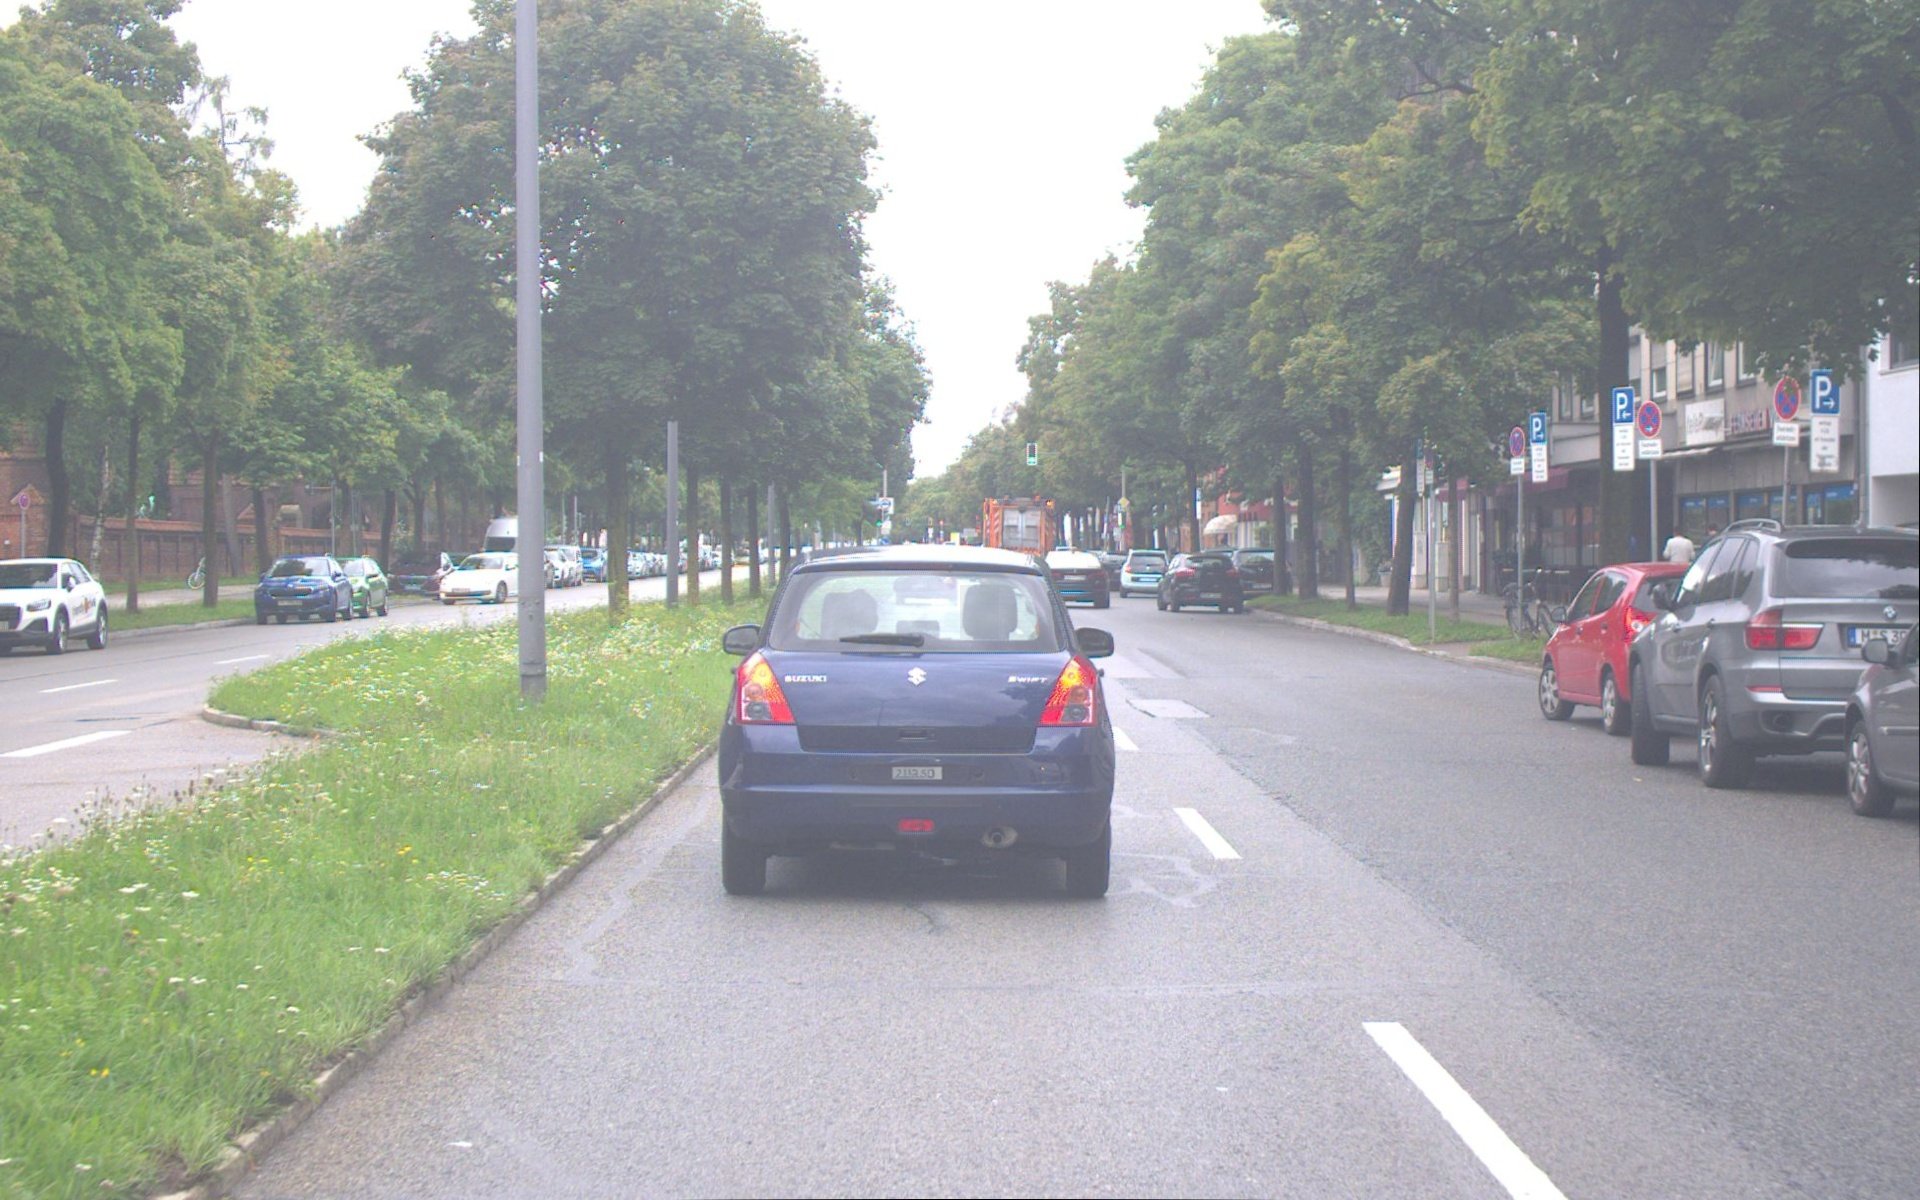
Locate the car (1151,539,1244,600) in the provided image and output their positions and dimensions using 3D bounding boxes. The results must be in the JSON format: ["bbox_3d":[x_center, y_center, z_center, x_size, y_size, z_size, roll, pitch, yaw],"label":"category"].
[{"bbox_3d":[5.761,-0.753,83.761,1.993,1.447,4.000,0,1,0],"label":"car"}]

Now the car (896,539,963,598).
[{"bbox_3d":[-0.800,-0.836,90.216,1.718,1.495,4.301,1,1,-1],"label":"car"}]

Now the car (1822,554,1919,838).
[{"bbox_3d":[6.078,0.520,18.745,1.829,1.517,3.771,0,1,1],"label":"car"}]

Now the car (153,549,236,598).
[{"bbox_3d":[-24.783,-0.872,111.458,1.813,1.531,4.299,1,1,-1],"label":"car"}]

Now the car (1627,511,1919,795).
[{"bbox_3d":[5.810,0.293,23.397,1.829,1.740,4.508,0,1,2],"label":"car"}]

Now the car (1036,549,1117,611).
[{"bbox_3d":[2.960,-0.531,88.317,1.821,1.472,4.691,2,1,-1],"label":"car"}]

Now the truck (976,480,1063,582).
[{"bbox_3d":[2.152,-2.553,127.775,3.041,3.545,13.675,1,1,0],"label":"truck"}]

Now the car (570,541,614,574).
[{"bbox_3d":[-17.437,-2.017,162.943,1.706,1.529,4.000,0,1,0],"label":"car"}]

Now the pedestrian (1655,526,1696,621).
[{"bbox_3d":[12.481,-0.464,60.002,0.549,1.624,0.641,-1,1,0],"label":"pedestrian"}]

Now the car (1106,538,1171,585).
[{"bbox_3d":[5.605,-1.220,108.314,1.653,1.447,4.001,0,1,-3],"label":"car"}]

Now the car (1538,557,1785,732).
[{"bbox_3d":[6.171,0.343,30.588,1.521,1.436,4.000,0,1,2],"label":"car"}]

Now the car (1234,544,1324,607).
[{"bbox_3d":[8.451,-0.673,91.419,1.993,1.637,4.333,0,1,0],"label":"car"}]

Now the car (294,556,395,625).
[{"bbox_3d":[-14.813,-0.252,82.946,1.638,1.532,4.315,-3,1,0],"label":"car"}]

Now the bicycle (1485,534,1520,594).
[{"bbox_3d":[13.344,-0.887,84.589,0.580,1.458,1.688,0,1,0],"label":"bicycle"}]

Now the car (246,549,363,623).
[{"bbox_3d":[-14.711,-0.343,77.359,1.886,1.532,4.315,-3,1,-2],"label":"car"}]

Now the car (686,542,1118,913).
[{"bbox_3d":[-0.221,0.487,16.008,1.753,1.499,4.000,0,1,0],"label":"car"}]

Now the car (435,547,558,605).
[{"bbox_3d":[-13.571,-0.718,100.930,1.762,1.532,4.311,-2,1,19],"label":"car"}]

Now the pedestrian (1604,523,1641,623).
[{"bbox_3d":[11.566,-0.471,60.000,0.499,1.727,0.733,0,1,0],"label":"pedestrian"}]

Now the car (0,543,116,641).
[{"bbox_3d":[-14.717,-0.128,54.300,1.857,1.485,4.142,0,0,-1],"label":"car"}]

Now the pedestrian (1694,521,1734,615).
[{"bbox_3d":[13.241,-0.563,60.402,0.541,1.635,0.724,0,1,0],"label":"pedestrian"}]

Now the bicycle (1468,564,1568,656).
[{"bbox_3d":[7.859,0.122,48.496,0.454,1.251,2.150,0,1,-18],"label":"bicycle"}]
